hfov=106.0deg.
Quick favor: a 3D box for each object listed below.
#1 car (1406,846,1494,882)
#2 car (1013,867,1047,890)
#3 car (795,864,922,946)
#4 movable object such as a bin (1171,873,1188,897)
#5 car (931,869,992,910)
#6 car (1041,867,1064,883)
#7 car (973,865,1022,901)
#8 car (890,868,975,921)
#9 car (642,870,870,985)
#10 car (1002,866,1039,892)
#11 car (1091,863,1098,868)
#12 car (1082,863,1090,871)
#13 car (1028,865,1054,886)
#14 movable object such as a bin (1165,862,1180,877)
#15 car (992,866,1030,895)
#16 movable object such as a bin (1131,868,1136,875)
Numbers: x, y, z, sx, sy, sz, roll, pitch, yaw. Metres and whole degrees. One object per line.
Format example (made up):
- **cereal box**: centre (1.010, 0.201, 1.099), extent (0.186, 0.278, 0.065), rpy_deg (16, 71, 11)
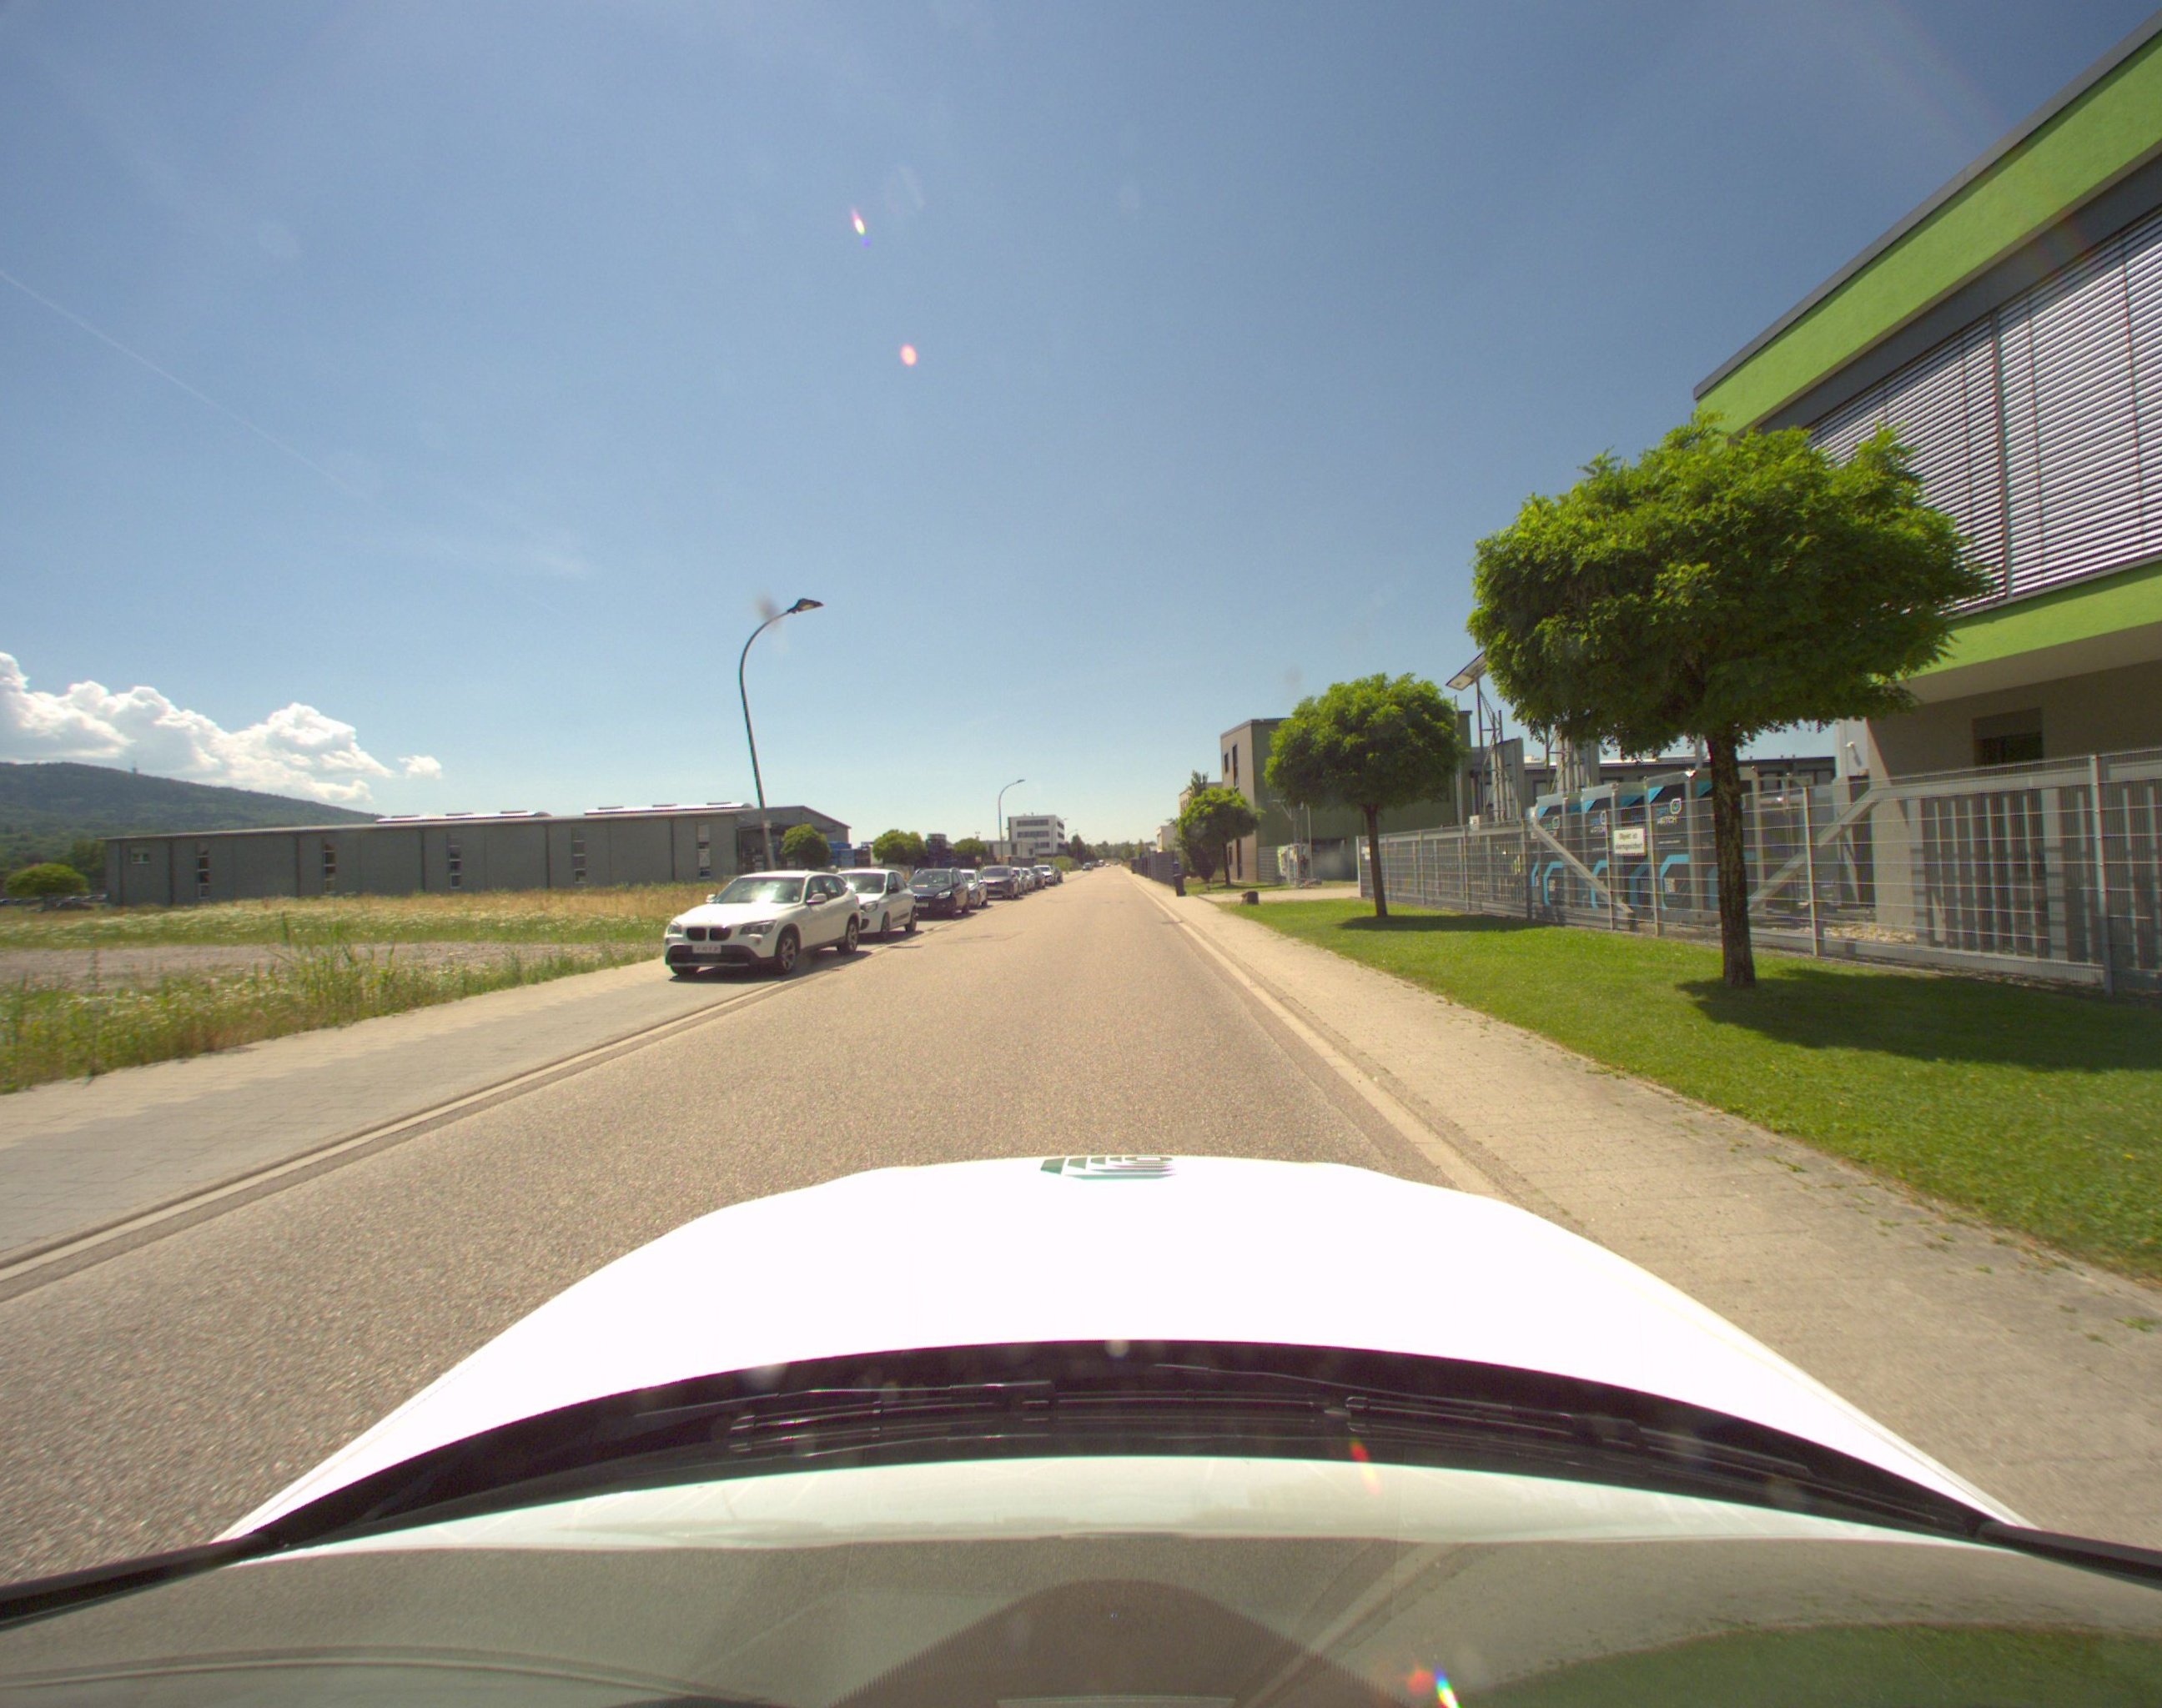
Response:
- **car**: centre (16.414, 0.433, 36.489), extent (1.986, 1.438, 4.615), rpy_deg (-2, 0, 2)
- **car**: centre (-3.455, 1.682, 55.985), extent (1.850, 1.481, 4.231), rpy_deg (-1, -1, 2)
- **car**: centre (-4.980, 1.086, 18.782), extent (1.780, 1.656, 3.769), rpy_deg (-1, -1, 1)
- **movable object such as a bin**: centre (4.132, 1.286, 34.169), extent (0.548, 0.928, 0.523), rpy_deg (-6, -2, 12)
- **car**: centre (-4.567, 1.322, 31.619), extent (1.758, 1.451, 4.199), rpy_deg (-1, -1, -1)
- **car**: centre (-2.623, 1.949, 75.849), extent (1.762, 1.461, 4.335), rpy_deg (-1, -1, 2)
- **car**: centre (-3.986, 1.339, 39.488), extent (1.784, 1.607, 4.464), rpy_deg (-1, -1, 1)
- **car**: centre (-4.613, 1.216, 25.907), extent (1.756, 1.517, 4.381), rpy_deg (-1, -1, 2)
- **car**: centre (-5.154, 1.080, 13.651), extent (1.779, 1.542, 4.369), rpy_deg (-2, -1, 4)
- **car**: centre (-3.742, 1.544, 51.127), extent (1.768, 1.481, 4.817), rpy_deg (-1, -1, 1)
- **car**: centre (3.715, 3.180, 225.571), extent (1.638, 1.490, 3.209), rpy_deg (-2, -1, 2)
- **car**: centre (1.094, 2.712, 170.618), extent (1.461, 1.490, 3.209), rpy_deg (-2, -1, 3)
- **car**: centre (-3.153, 1.713, 64.874), extent (1.763, 1.592, 4.360), rpy_deg (-1, -1, 1)
- **movable object such as a bin**: centre (9.078, 1.513, 80.586), extent (1.329, 1.459, 0.949), rpy_deg (-3, -1, 1)
- **car**: centre (-3.851, 1.461, 45.429), extent (1.687, 1.525, 3.736), rpy_deg (-1, -1, 1)
- **movable object such as a bin**: centre (7.914, 2.595, 122.369), extent (0.549, 0.928, 0.523), rpy_deg (-7, 0, 6)
